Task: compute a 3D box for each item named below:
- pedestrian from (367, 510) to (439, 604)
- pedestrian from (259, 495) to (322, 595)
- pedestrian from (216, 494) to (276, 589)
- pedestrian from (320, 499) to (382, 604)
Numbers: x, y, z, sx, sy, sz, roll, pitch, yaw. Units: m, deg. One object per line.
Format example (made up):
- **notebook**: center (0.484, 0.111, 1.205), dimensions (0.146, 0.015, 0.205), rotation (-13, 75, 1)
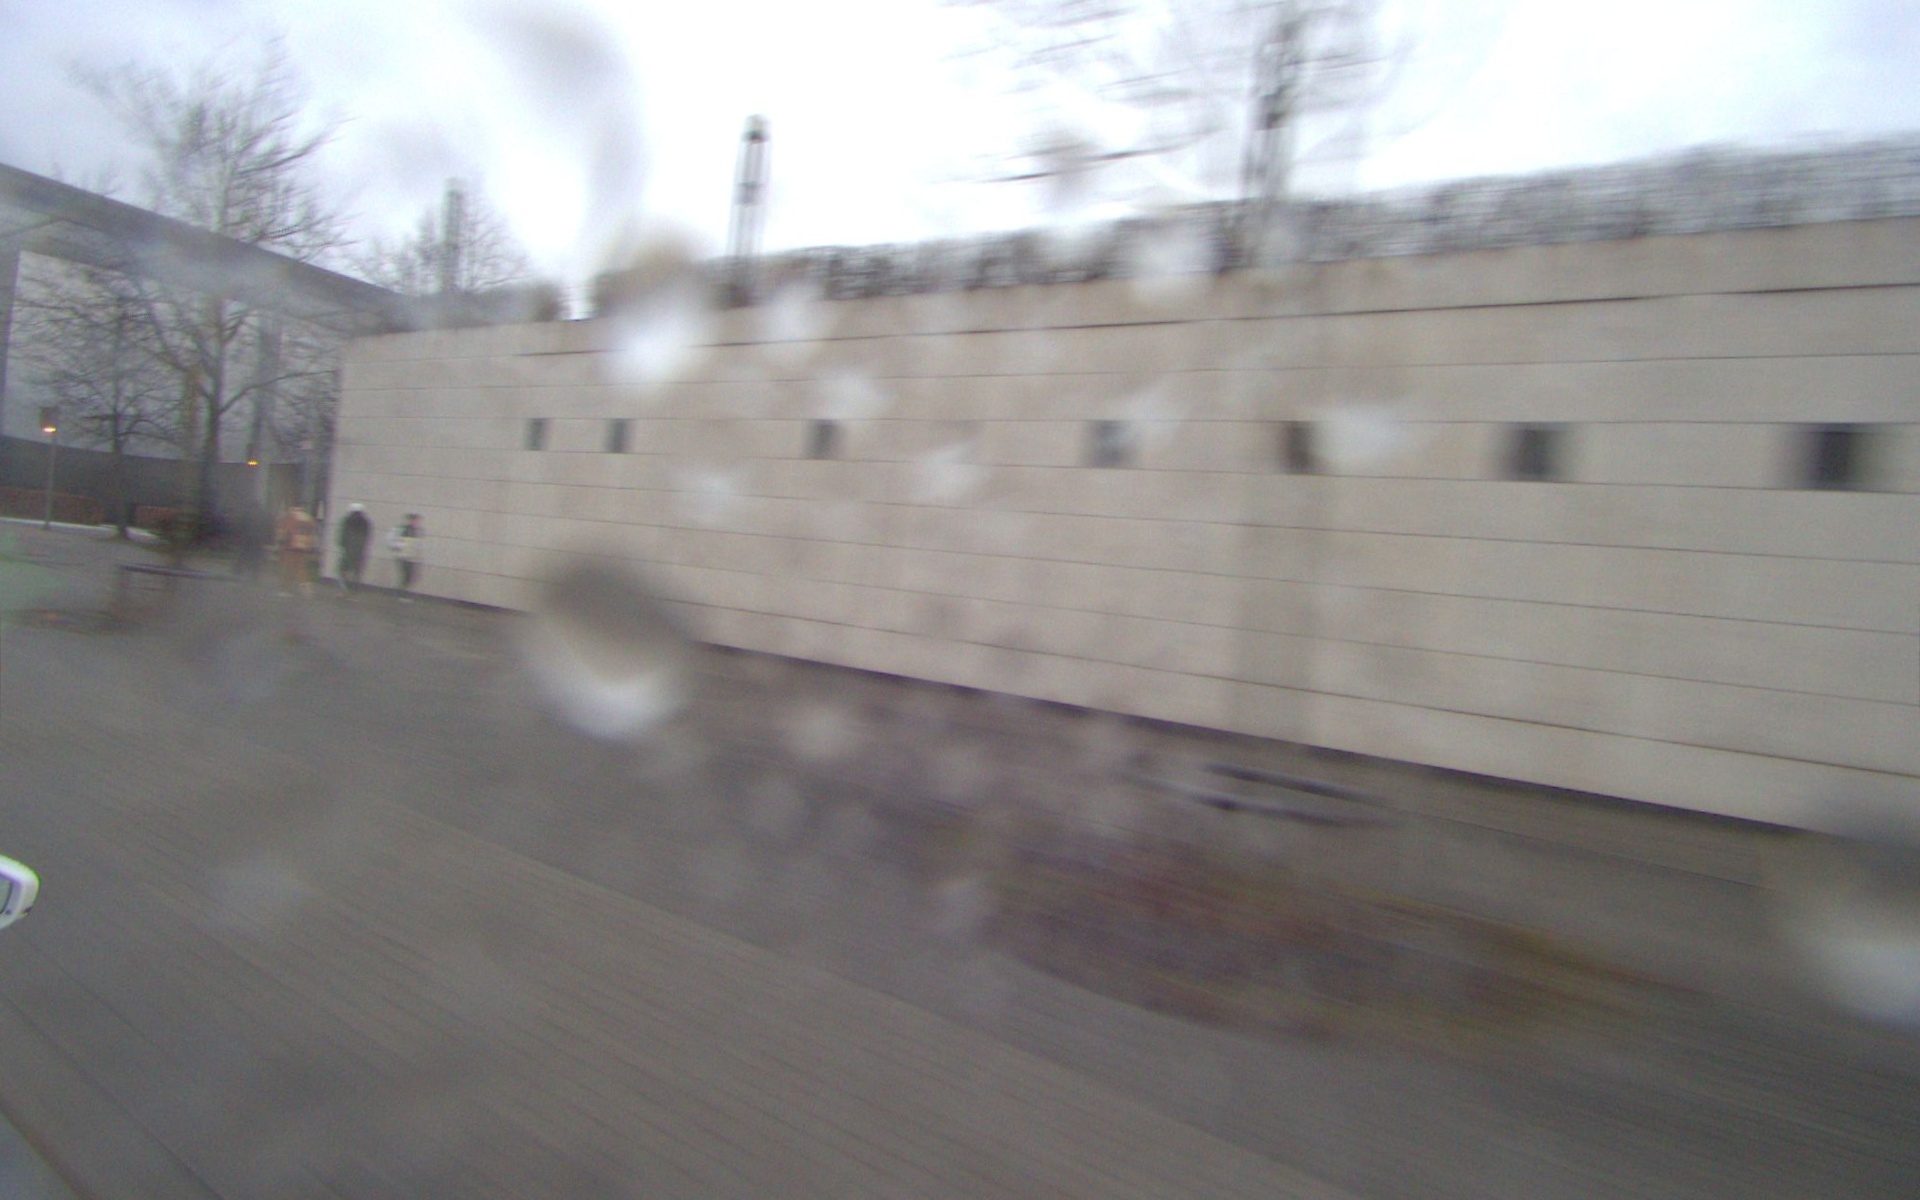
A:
- **pedestrian**: center (-10.671, -0.821, 19.283), dimensions (0.977, 1.676, 0.668), rotation (6, 1, 26)
- **pedestrian**: center (-11.761, -0.963, 17.677), dimensions (0.671, 1.631, 0.606), rotation (8, -1, -45)
- **pedestrian**: center (-13.150, -1.075, 18.529), dimensions (0.670, 1.644, 0.607), rotation (8, -1, -43)
- **pedestrian**: center (-11.136, -0.886, 18.394), dimensions (0.671, 1.799, 0.606), rotation (8, -1, -45)
